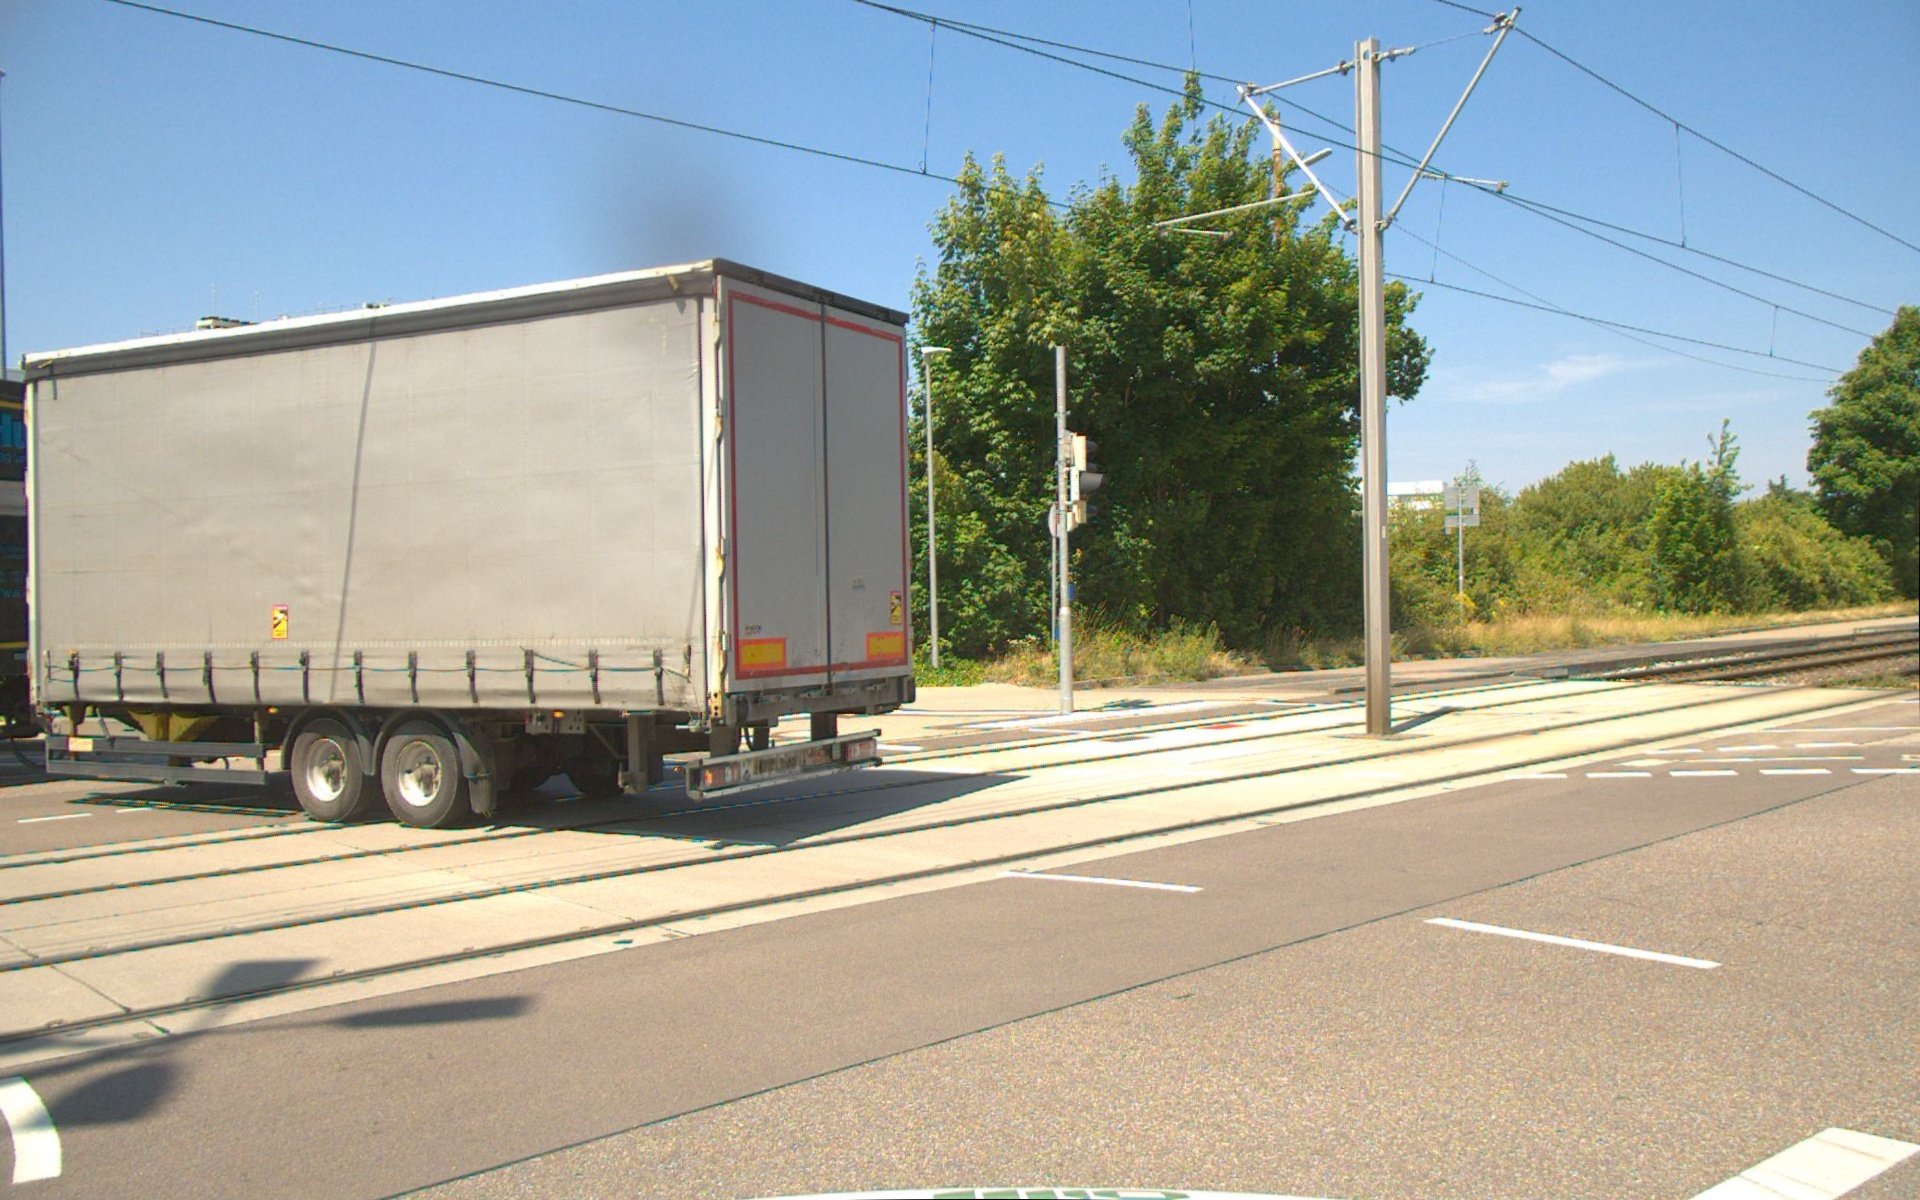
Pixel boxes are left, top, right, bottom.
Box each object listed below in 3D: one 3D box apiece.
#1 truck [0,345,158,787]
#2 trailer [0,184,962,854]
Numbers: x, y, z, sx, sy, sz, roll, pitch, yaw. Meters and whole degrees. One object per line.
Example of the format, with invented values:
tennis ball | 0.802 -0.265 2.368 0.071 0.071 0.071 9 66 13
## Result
truck | -12.631 -0.253 16.919 7.763 4.141 3.090 -1 -1 14
trailer | -4.952 -0.435 13.872 9.589 4.141 3.083 -1 0 28
